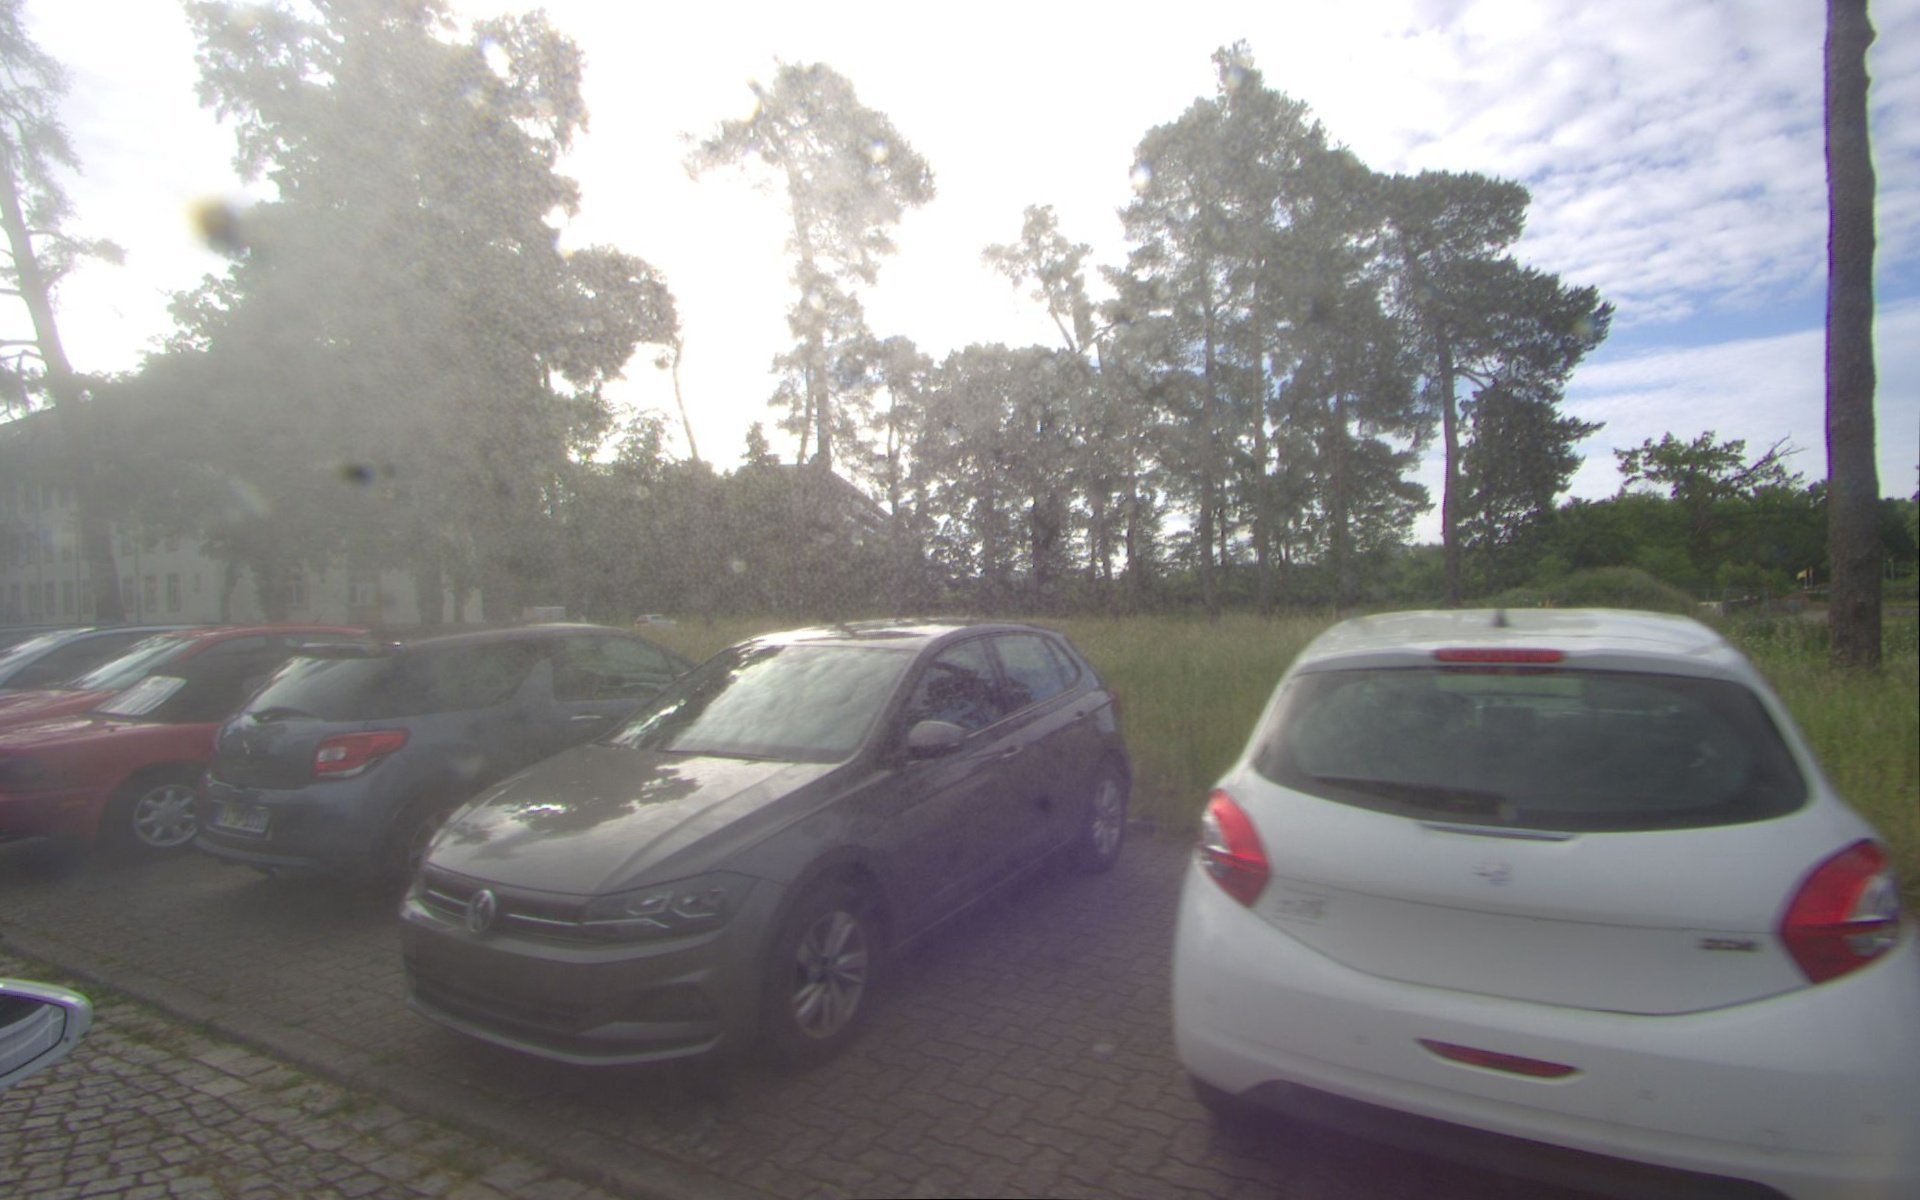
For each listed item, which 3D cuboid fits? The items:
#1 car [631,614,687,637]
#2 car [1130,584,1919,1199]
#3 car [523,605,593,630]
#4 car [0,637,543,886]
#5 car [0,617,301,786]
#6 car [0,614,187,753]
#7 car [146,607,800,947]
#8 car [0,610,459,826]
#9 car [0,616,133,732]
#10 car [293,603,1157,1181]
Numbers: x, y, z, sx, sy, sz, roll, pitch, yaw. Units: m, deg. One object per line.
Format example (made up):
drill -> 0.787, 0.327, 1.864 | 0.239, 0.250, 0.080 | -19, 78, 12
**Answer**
car -> -23.972, 2.041, 79.863 | 1.872, 1.826, 4.128 | -1, -2, 31
car -> 2.073, 0.711, 3.693 | 1.739, 1.498, 3.648 | -1, 0, 29
car -> -33.719, 1.516, 84.094 | 2.074, 2.045, 5.295 | -1, -2, 30
car -> -5.231, 0.987, 7.574 | 1.604, 1.239, 3.580 | -1, 0, 30
car -> -9.210, 0.953, 9.952 | 1.725, 1.456, 4.187 | -1, 0, 22
car -> -11.566, 0.970, 11.322 | 1.679, 1.499, 4.234 | -1, 0, 19
car -> -2.829, 0.840, 6.572 | 1.716, 1.507, 3.501 | -1, 1, 29
car -> -6.991, 0.891, 9.156 | 1.658, 1.496, 4.101 | -1, 0, 28
car -> -13.552, 1.006, 12.924 | 1.606, 1.483, 4.135 | -1, 0, 24
car -> -0.551, 0.788, 4.861 | 1.739, 1.466, 4.124 | -1, 0, 30
